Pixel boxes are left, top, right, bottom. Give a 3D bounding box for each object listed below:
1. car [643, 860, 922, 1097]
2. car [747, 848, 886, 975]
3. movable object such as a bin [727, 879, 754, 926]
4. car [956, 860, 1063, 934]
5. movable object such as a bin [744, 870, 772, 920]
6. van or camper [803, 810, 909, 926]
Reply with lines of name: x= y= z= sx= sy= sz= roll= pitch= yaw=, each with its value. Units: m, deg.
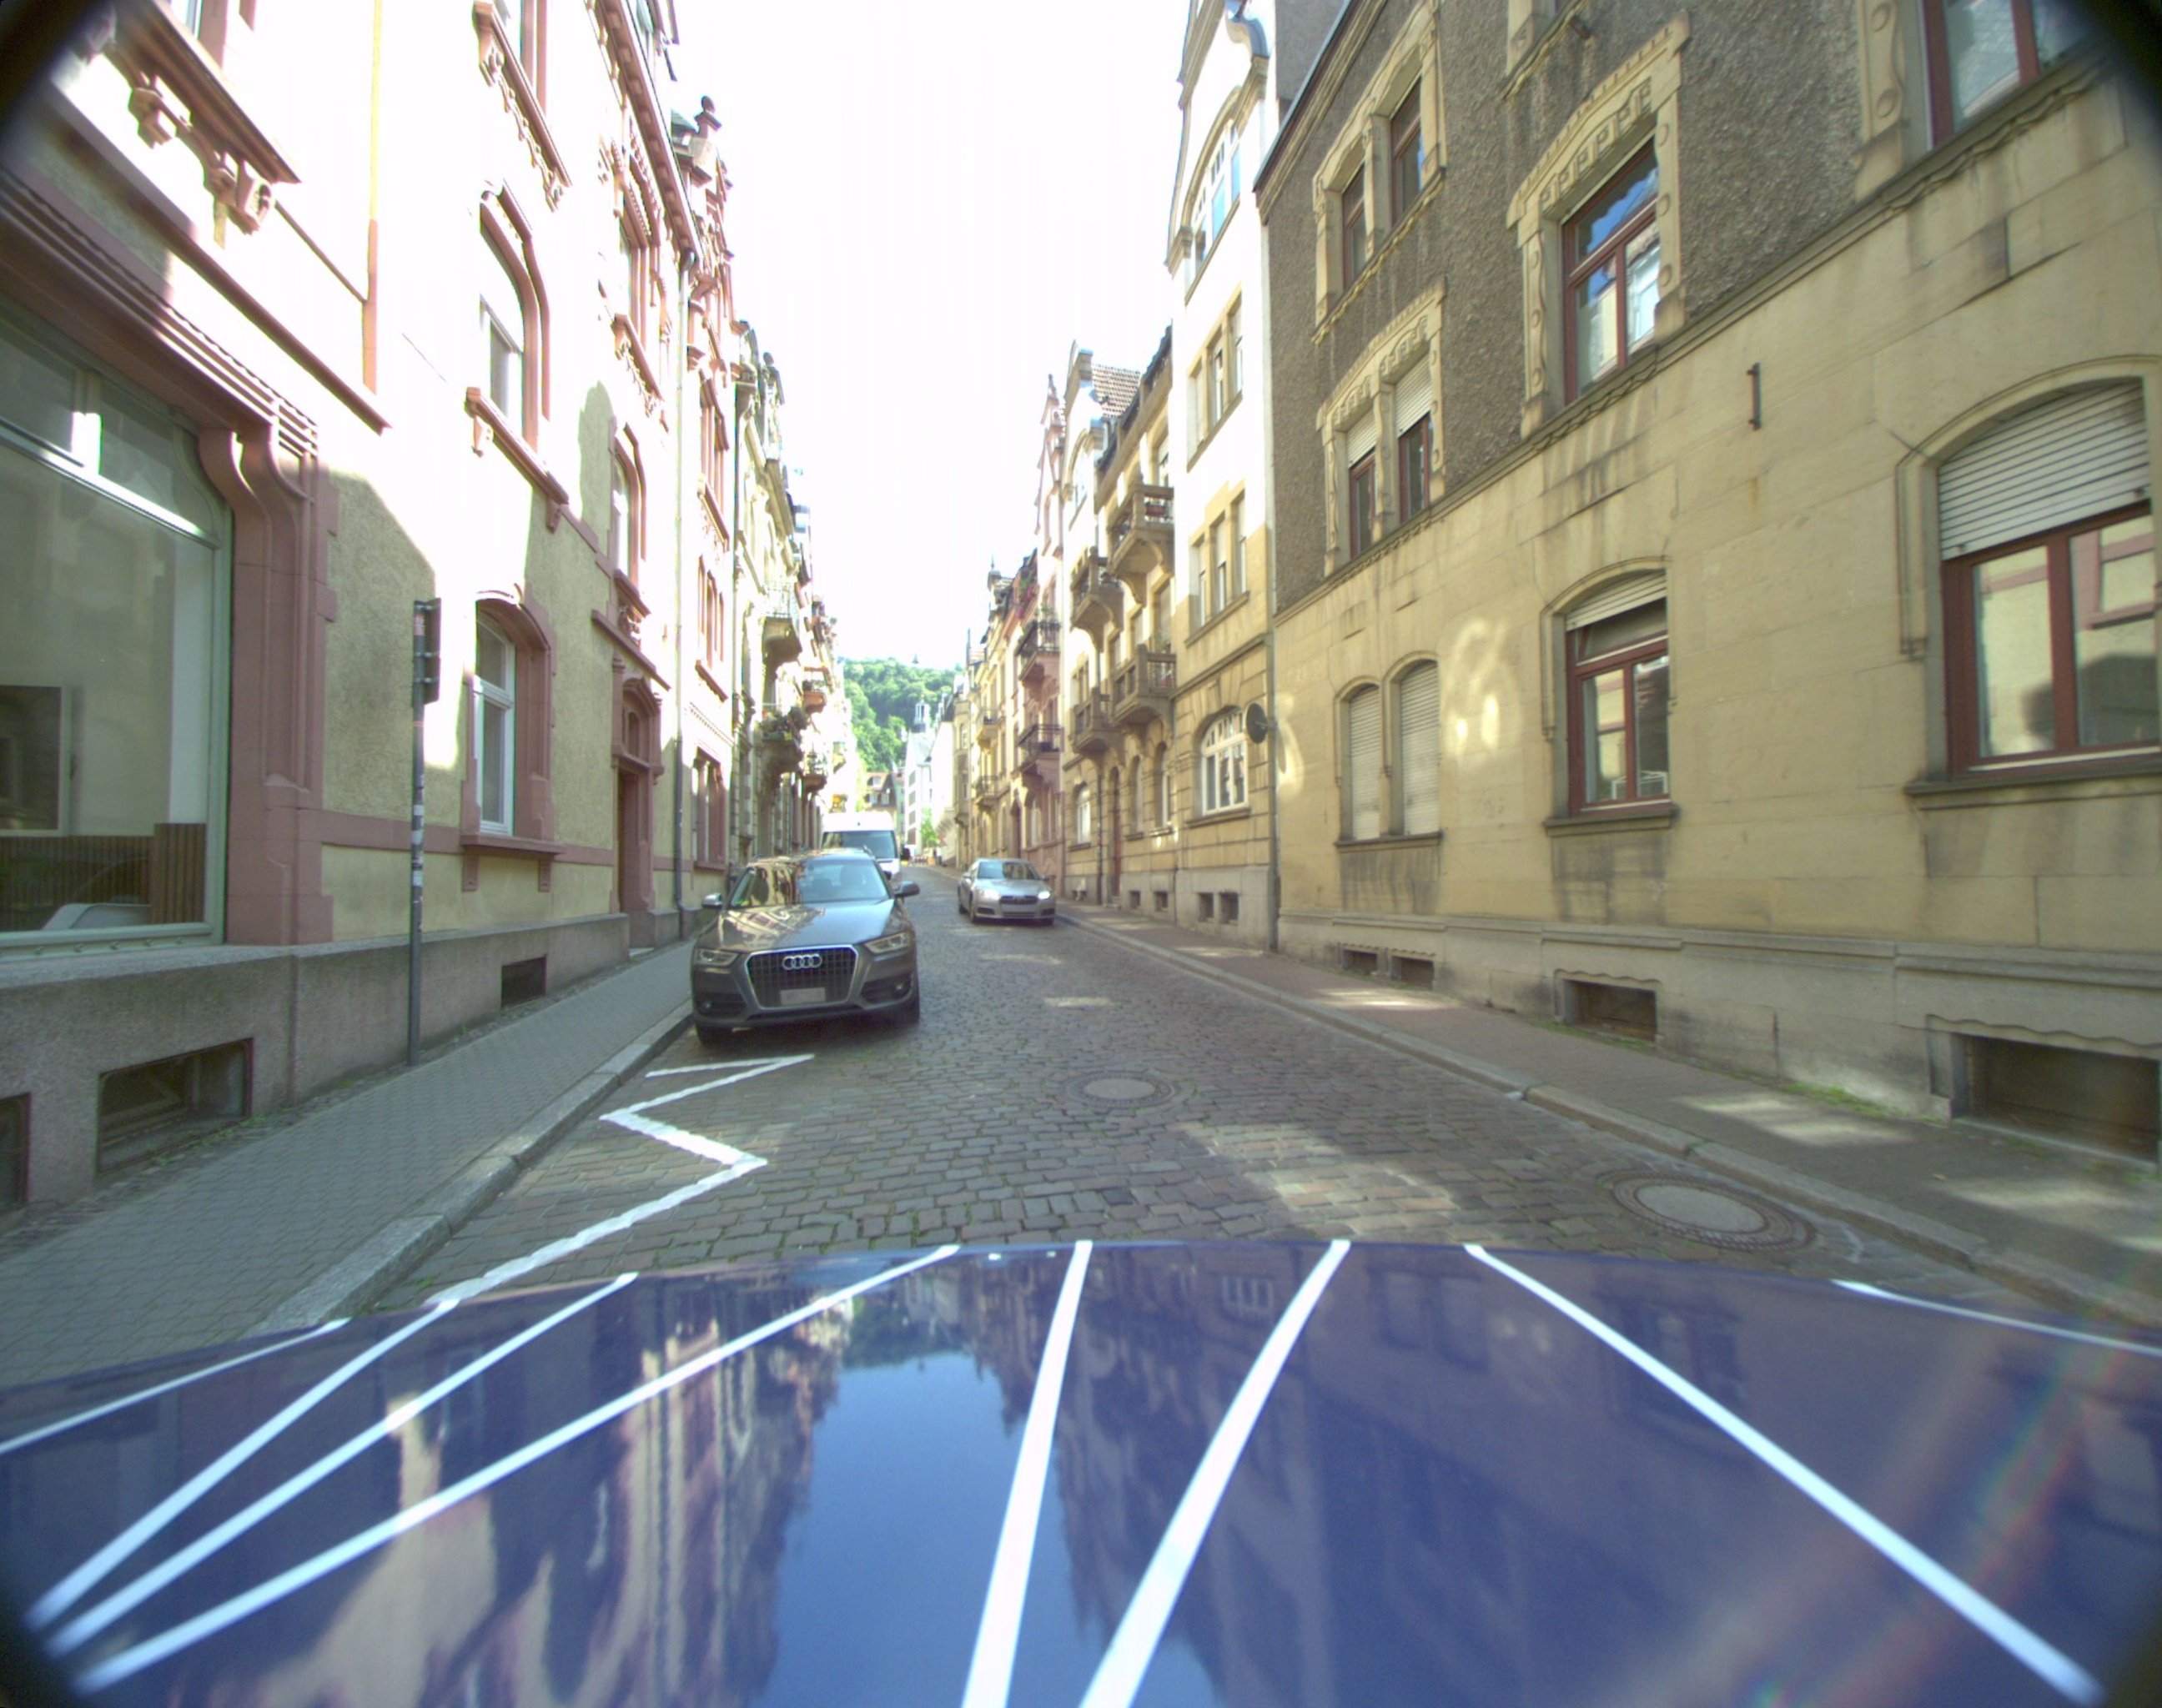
car: x=-2.709 y=0.895 z=7.636 sx=1.863 sy=1.574 sz=4.254 roll=-2 pitch=1 yaw=-15
car: x=-4.249 y=0.787 z=12.763 sx=1.762 sy=1.696 sz=3.995 roll=-3 pitch=1 yaw=-14
movable object such as a bin: x=-7.116 y=1.011 z=15.889 sx=0.440 sy=0.952 sz=0.349 roll=-1 pitch=-1 yaw=-14
car: x=-1.809 y=0.888 z=17.830 sx=1.878 sy=1.483 sz=4.377 roll=0 pitch=0 yaw=-14
movable object such as a bin: x=-7.275 y=0.918 z=17.134 sx=0.518 sy=1.083 sz=0.421 roll=-1 pitch=-1 yaw=-14
van or camper: x=-5.811 y=0.270 z=20.022 sx=2.228 sy=2.506 sz=6.758 roll=0 pitch=1 yaw=-15
